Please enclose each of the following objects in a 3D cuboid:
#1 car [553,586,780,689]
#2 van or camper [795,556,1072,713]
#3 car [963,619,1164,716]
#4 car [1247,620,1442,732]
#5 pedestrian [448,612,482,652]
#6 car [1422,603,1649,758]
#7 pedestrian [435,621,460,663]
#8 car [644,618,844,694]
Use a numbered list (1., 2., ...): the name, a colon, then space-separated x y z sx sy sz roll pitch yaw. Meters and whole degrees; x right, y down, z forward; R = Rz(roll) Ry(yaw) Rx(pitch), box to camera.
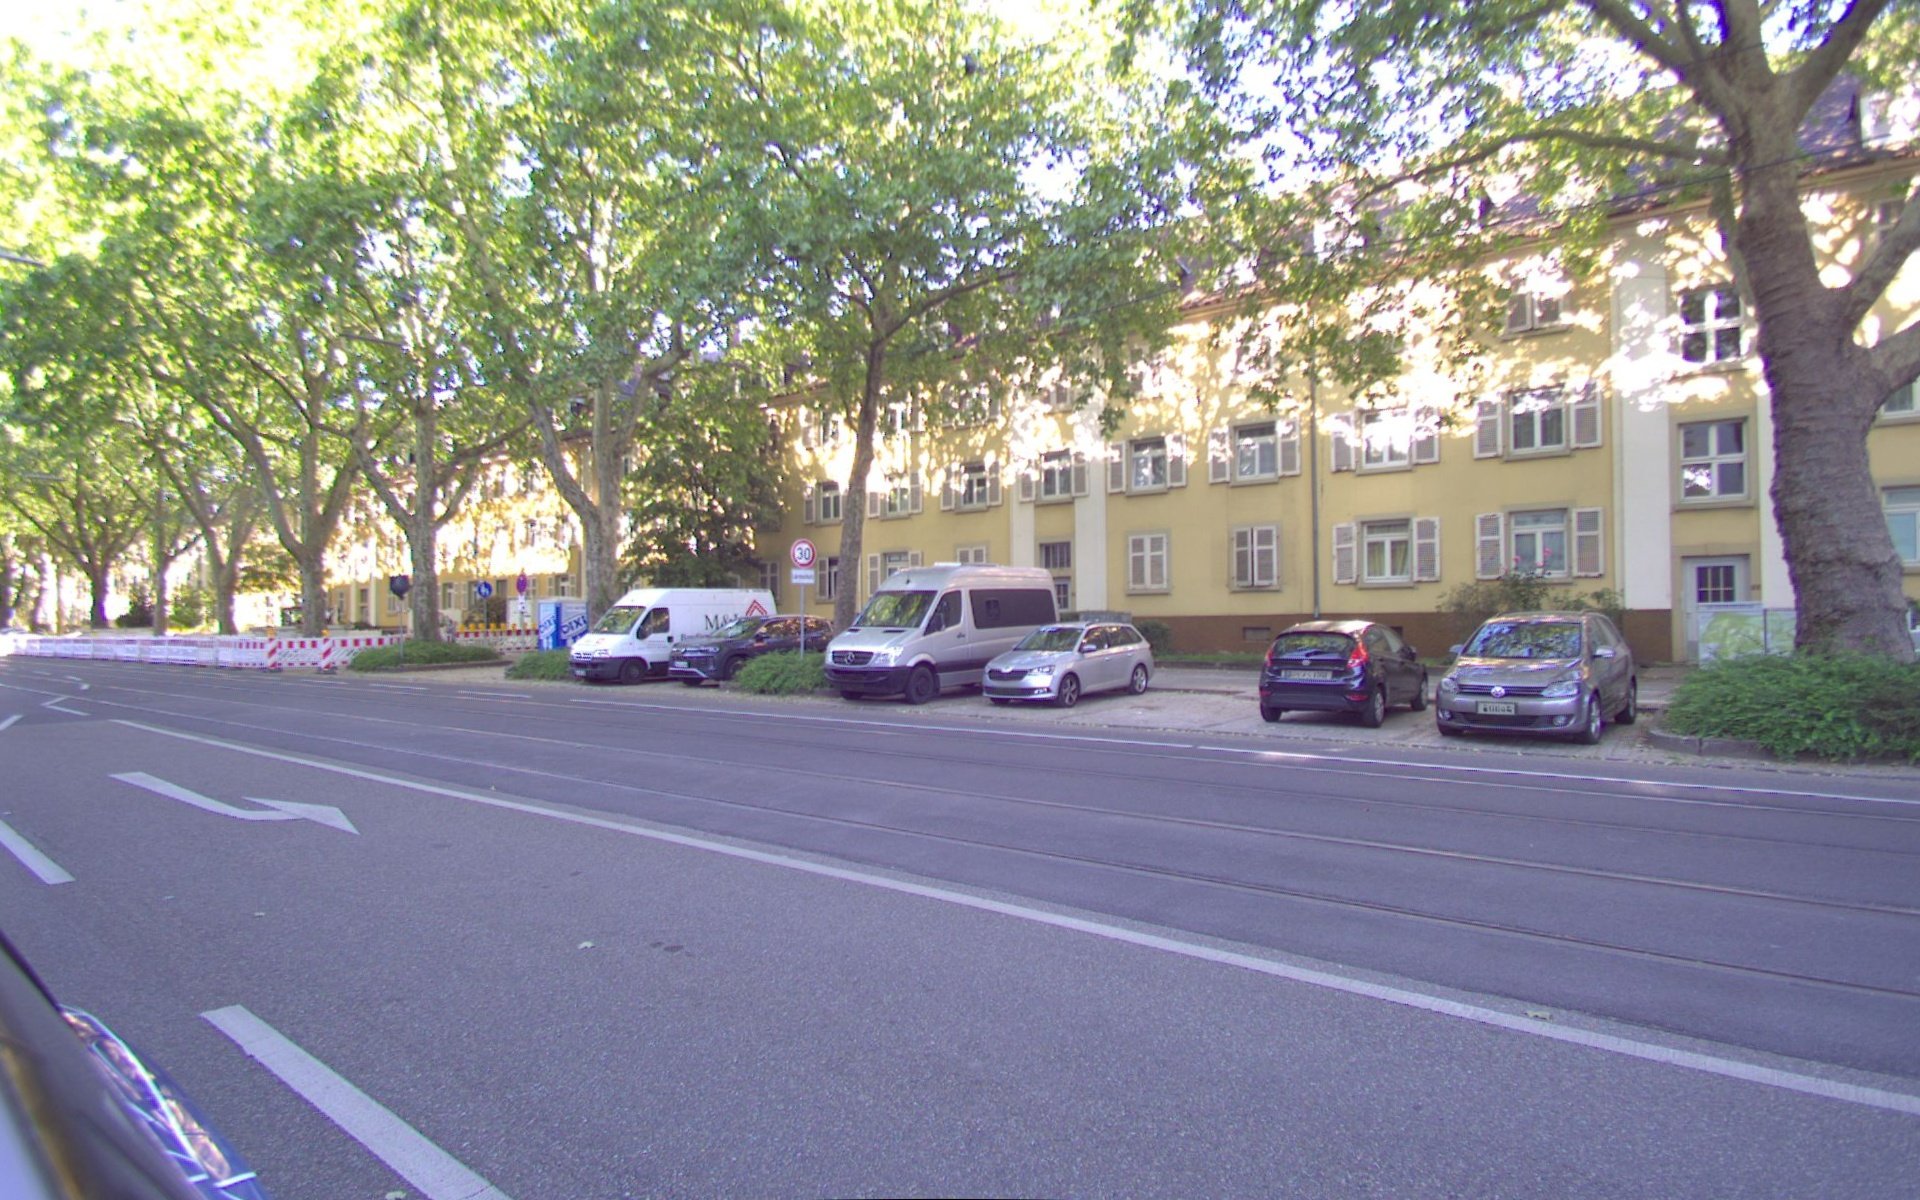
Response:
1. car: -7.447 0.946 26.289 2.023 2.394 5.543 -2 -2 38
2. van or camper: -0.319 0.611 20.493 2.227 2.697 6.052 -2 -1 38
3. car: 2.034 1.156 18.908 1.729 1.481 4.102 0 1 40
4. car: 5.903 1.047 15.331 1.740 1.440 3.528 -2 -1 39
5. pedestrian: -25.465 1.666 52.059 1.233 2.029 1.085 -2 -2 36
6. car: 7.734 0.926 13.417 1.814 1.617 4.145 -2 0 41
7. pedestrian: -19.765 1.626 39.063 0.706 1.585 0.598 0 -2 -9
8. car: -5.093 1.272 24.370 1.967 1.643 4.520 -2 -2 38
